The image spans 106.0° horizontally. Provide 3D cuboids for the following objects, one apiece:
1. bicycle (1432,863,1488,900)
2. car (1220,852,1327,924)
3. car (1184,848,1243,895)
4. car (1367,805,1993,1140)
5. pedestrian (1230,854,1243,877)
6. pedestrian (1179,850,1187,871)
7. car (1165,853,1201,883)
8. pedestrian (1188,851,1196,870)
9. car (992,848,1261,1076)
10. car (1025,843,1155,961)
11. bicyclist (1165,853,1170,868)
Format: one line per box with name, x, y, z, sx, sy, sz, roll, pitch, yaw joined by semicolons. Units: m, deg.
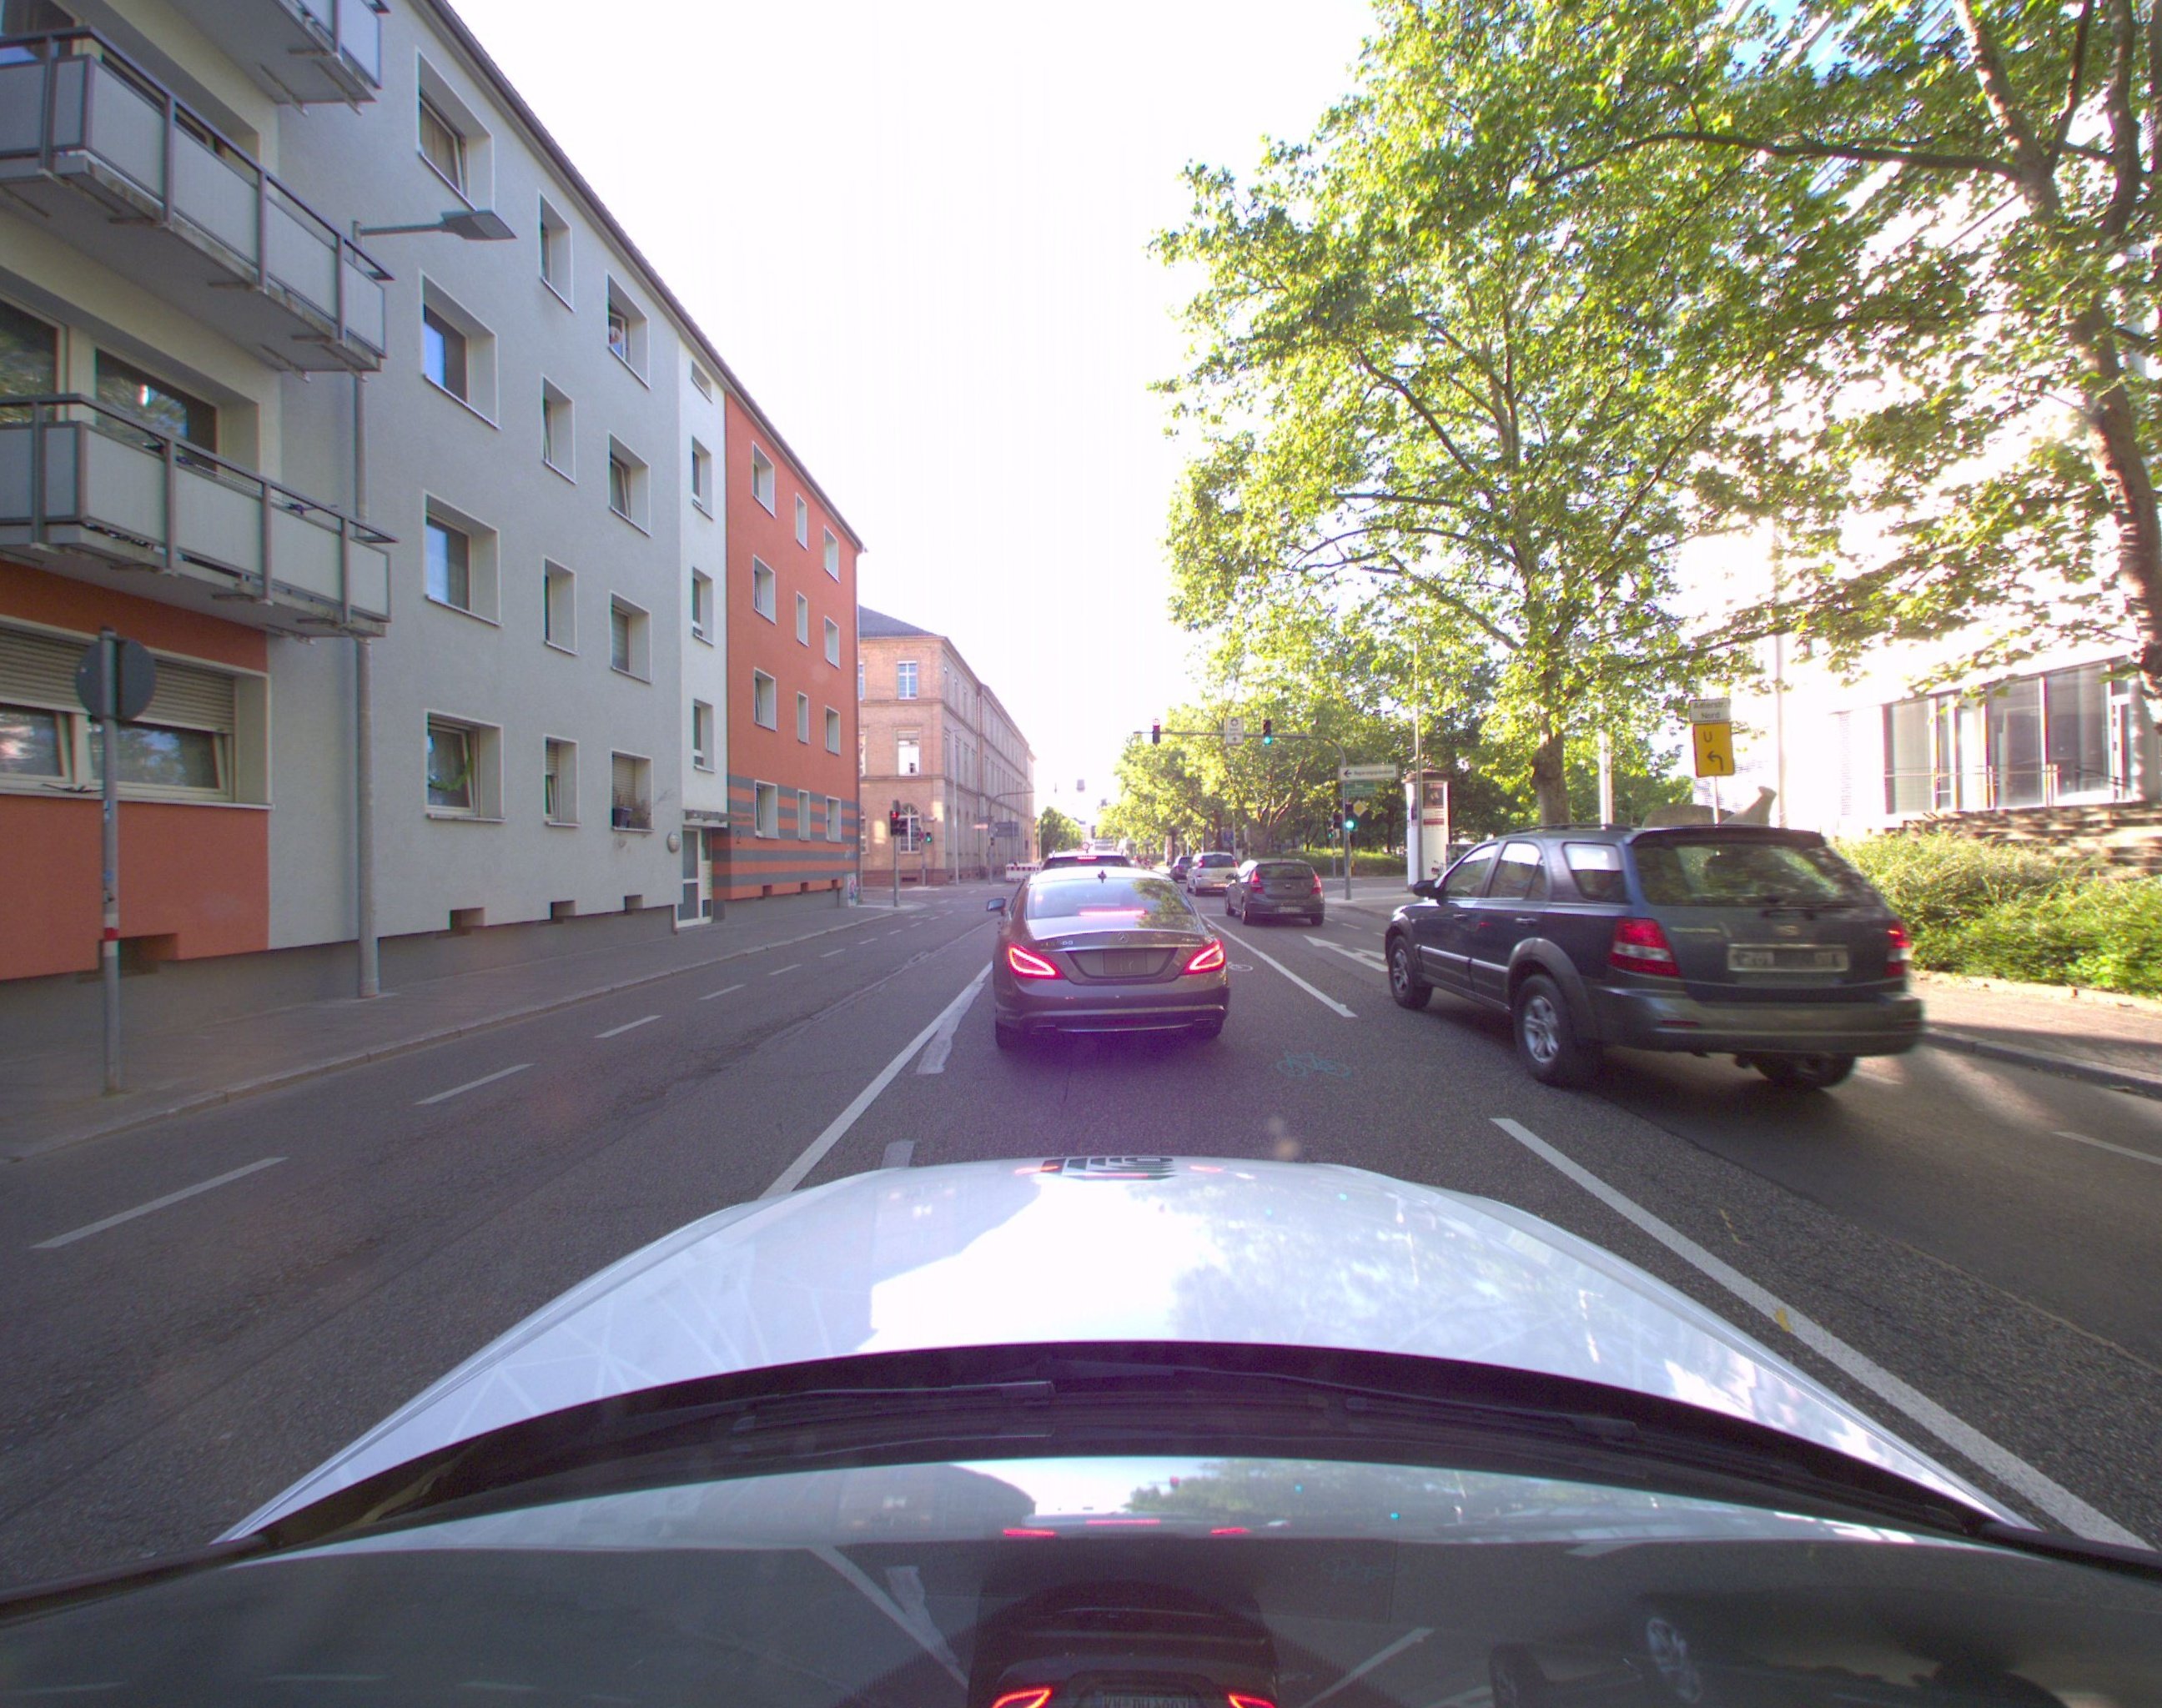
bicycle;10.984;0.776;23.574;1.895;1.028;0.635;0;-1;-36
car;4.448;0.732;19.402;1.698;1.519;4.002;-1;0;2
car;4.977;0.650;31.026;1.725;1.662;3.682;0;-1;2
car;3.972;0.636;6.578;1.854;1.764;4.483;-1;0;2
pedestrian;10.439;0.786;54.681;0.634;1.545;0.909;0;-1;-4
pedestrian;9.105;0.576;72.627;0.634;1.797;0.698;0;-1;-2
car;5.452;0.745;43.991;1.595;1.549;3.682;0;-1;2
pedestrian;9.905;0.576;72.683;0.634;1.760;0.698;0;-1;-2
car;0.144;0.736;7.600;1.859;1.519;3.992;-1;0;-6
car;0.192;0.694;13.735;1.854;1.682;4.002;-1;0;2
bicyclist;11.185;0.838;104.929;0.593;2.039;0.566;0;-1;-2
